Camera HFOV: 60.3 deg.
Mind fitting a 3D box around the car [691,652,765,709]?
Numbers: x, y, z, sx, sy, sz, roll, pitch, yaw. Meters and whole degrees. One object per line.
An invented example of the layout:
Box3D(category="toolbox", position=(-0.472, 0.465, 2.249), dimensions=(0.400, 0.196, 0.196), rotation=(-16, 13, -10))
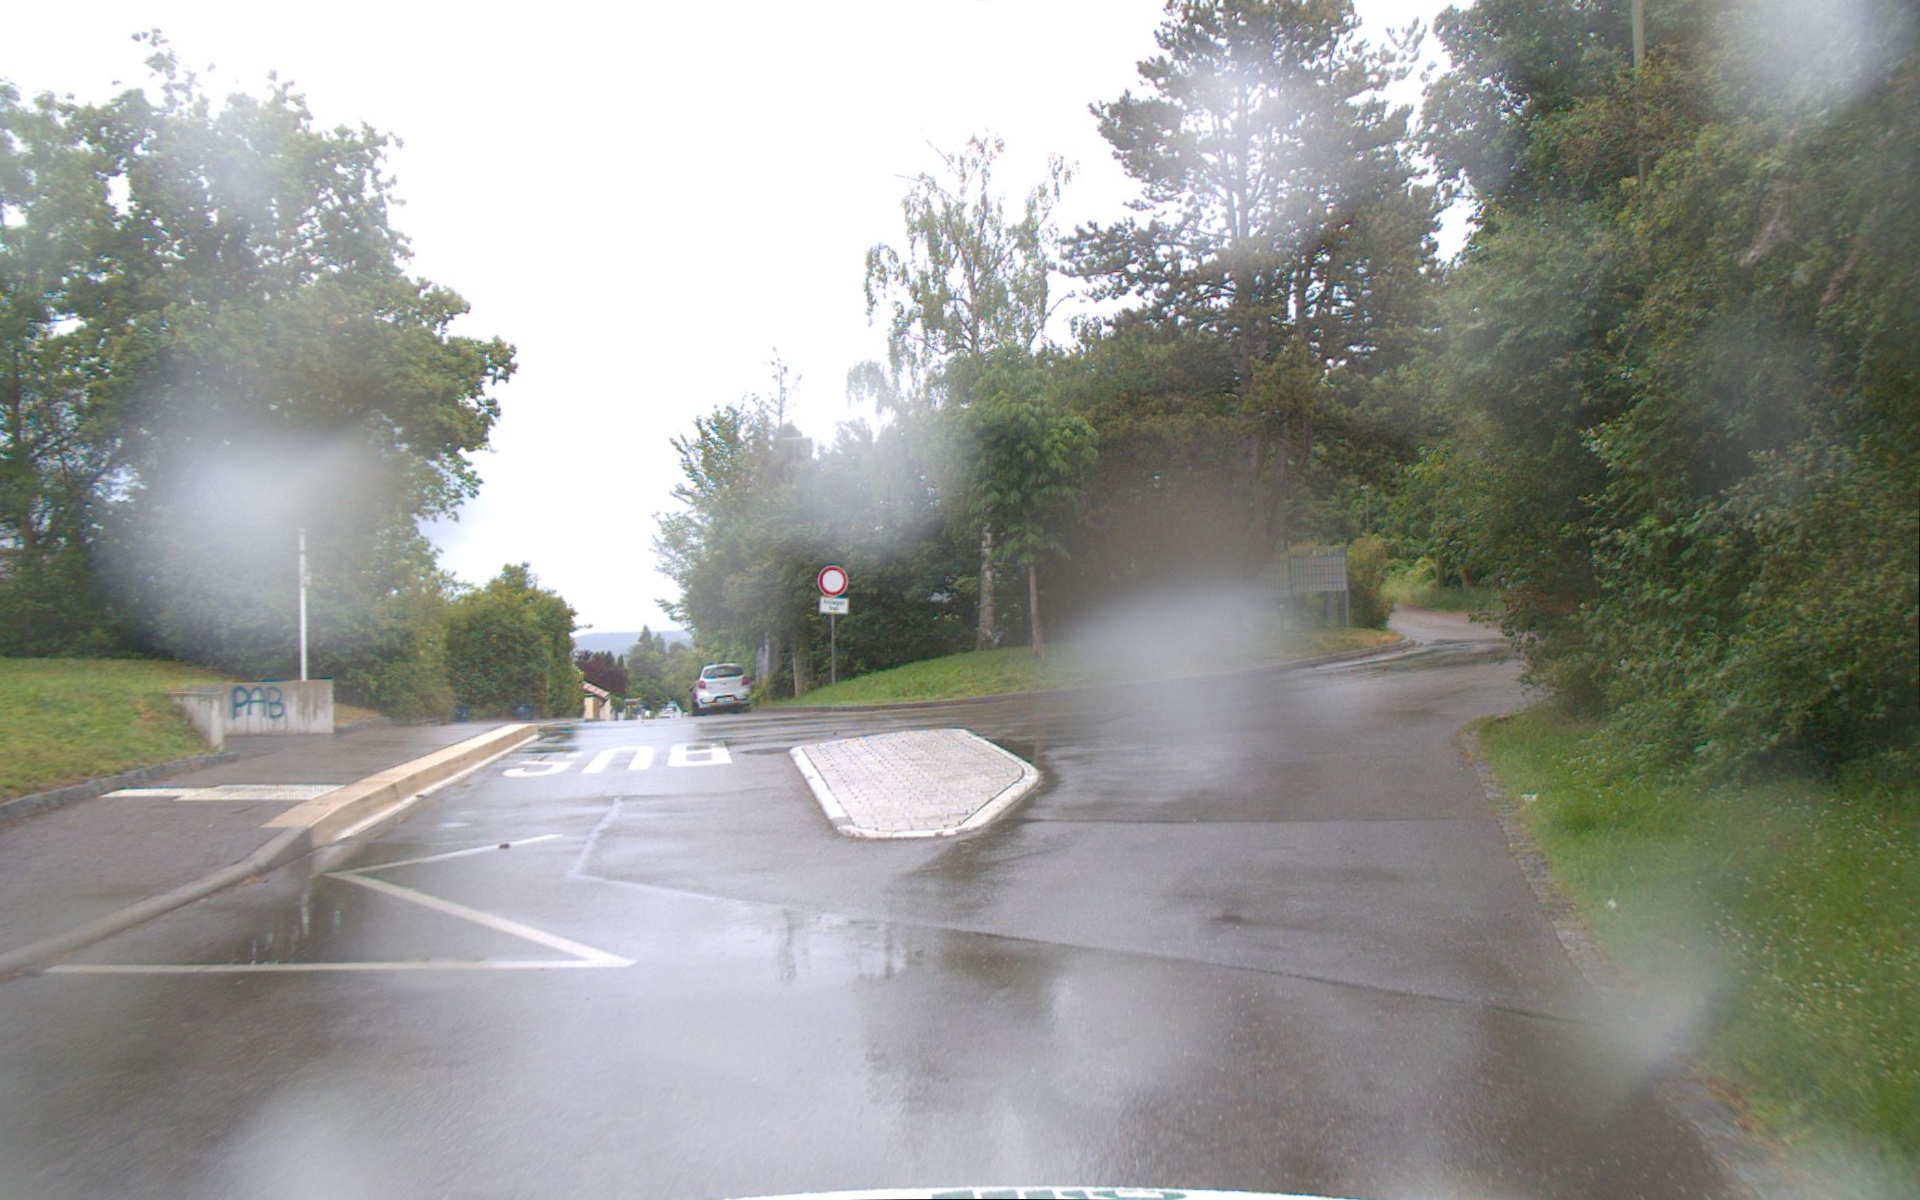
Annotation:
Box3D(category="car", position=(-7.021, 2.477, 50.271), dimensions=(1.954, 1.611, 3.995), rotation=(-1, -4, -5))
